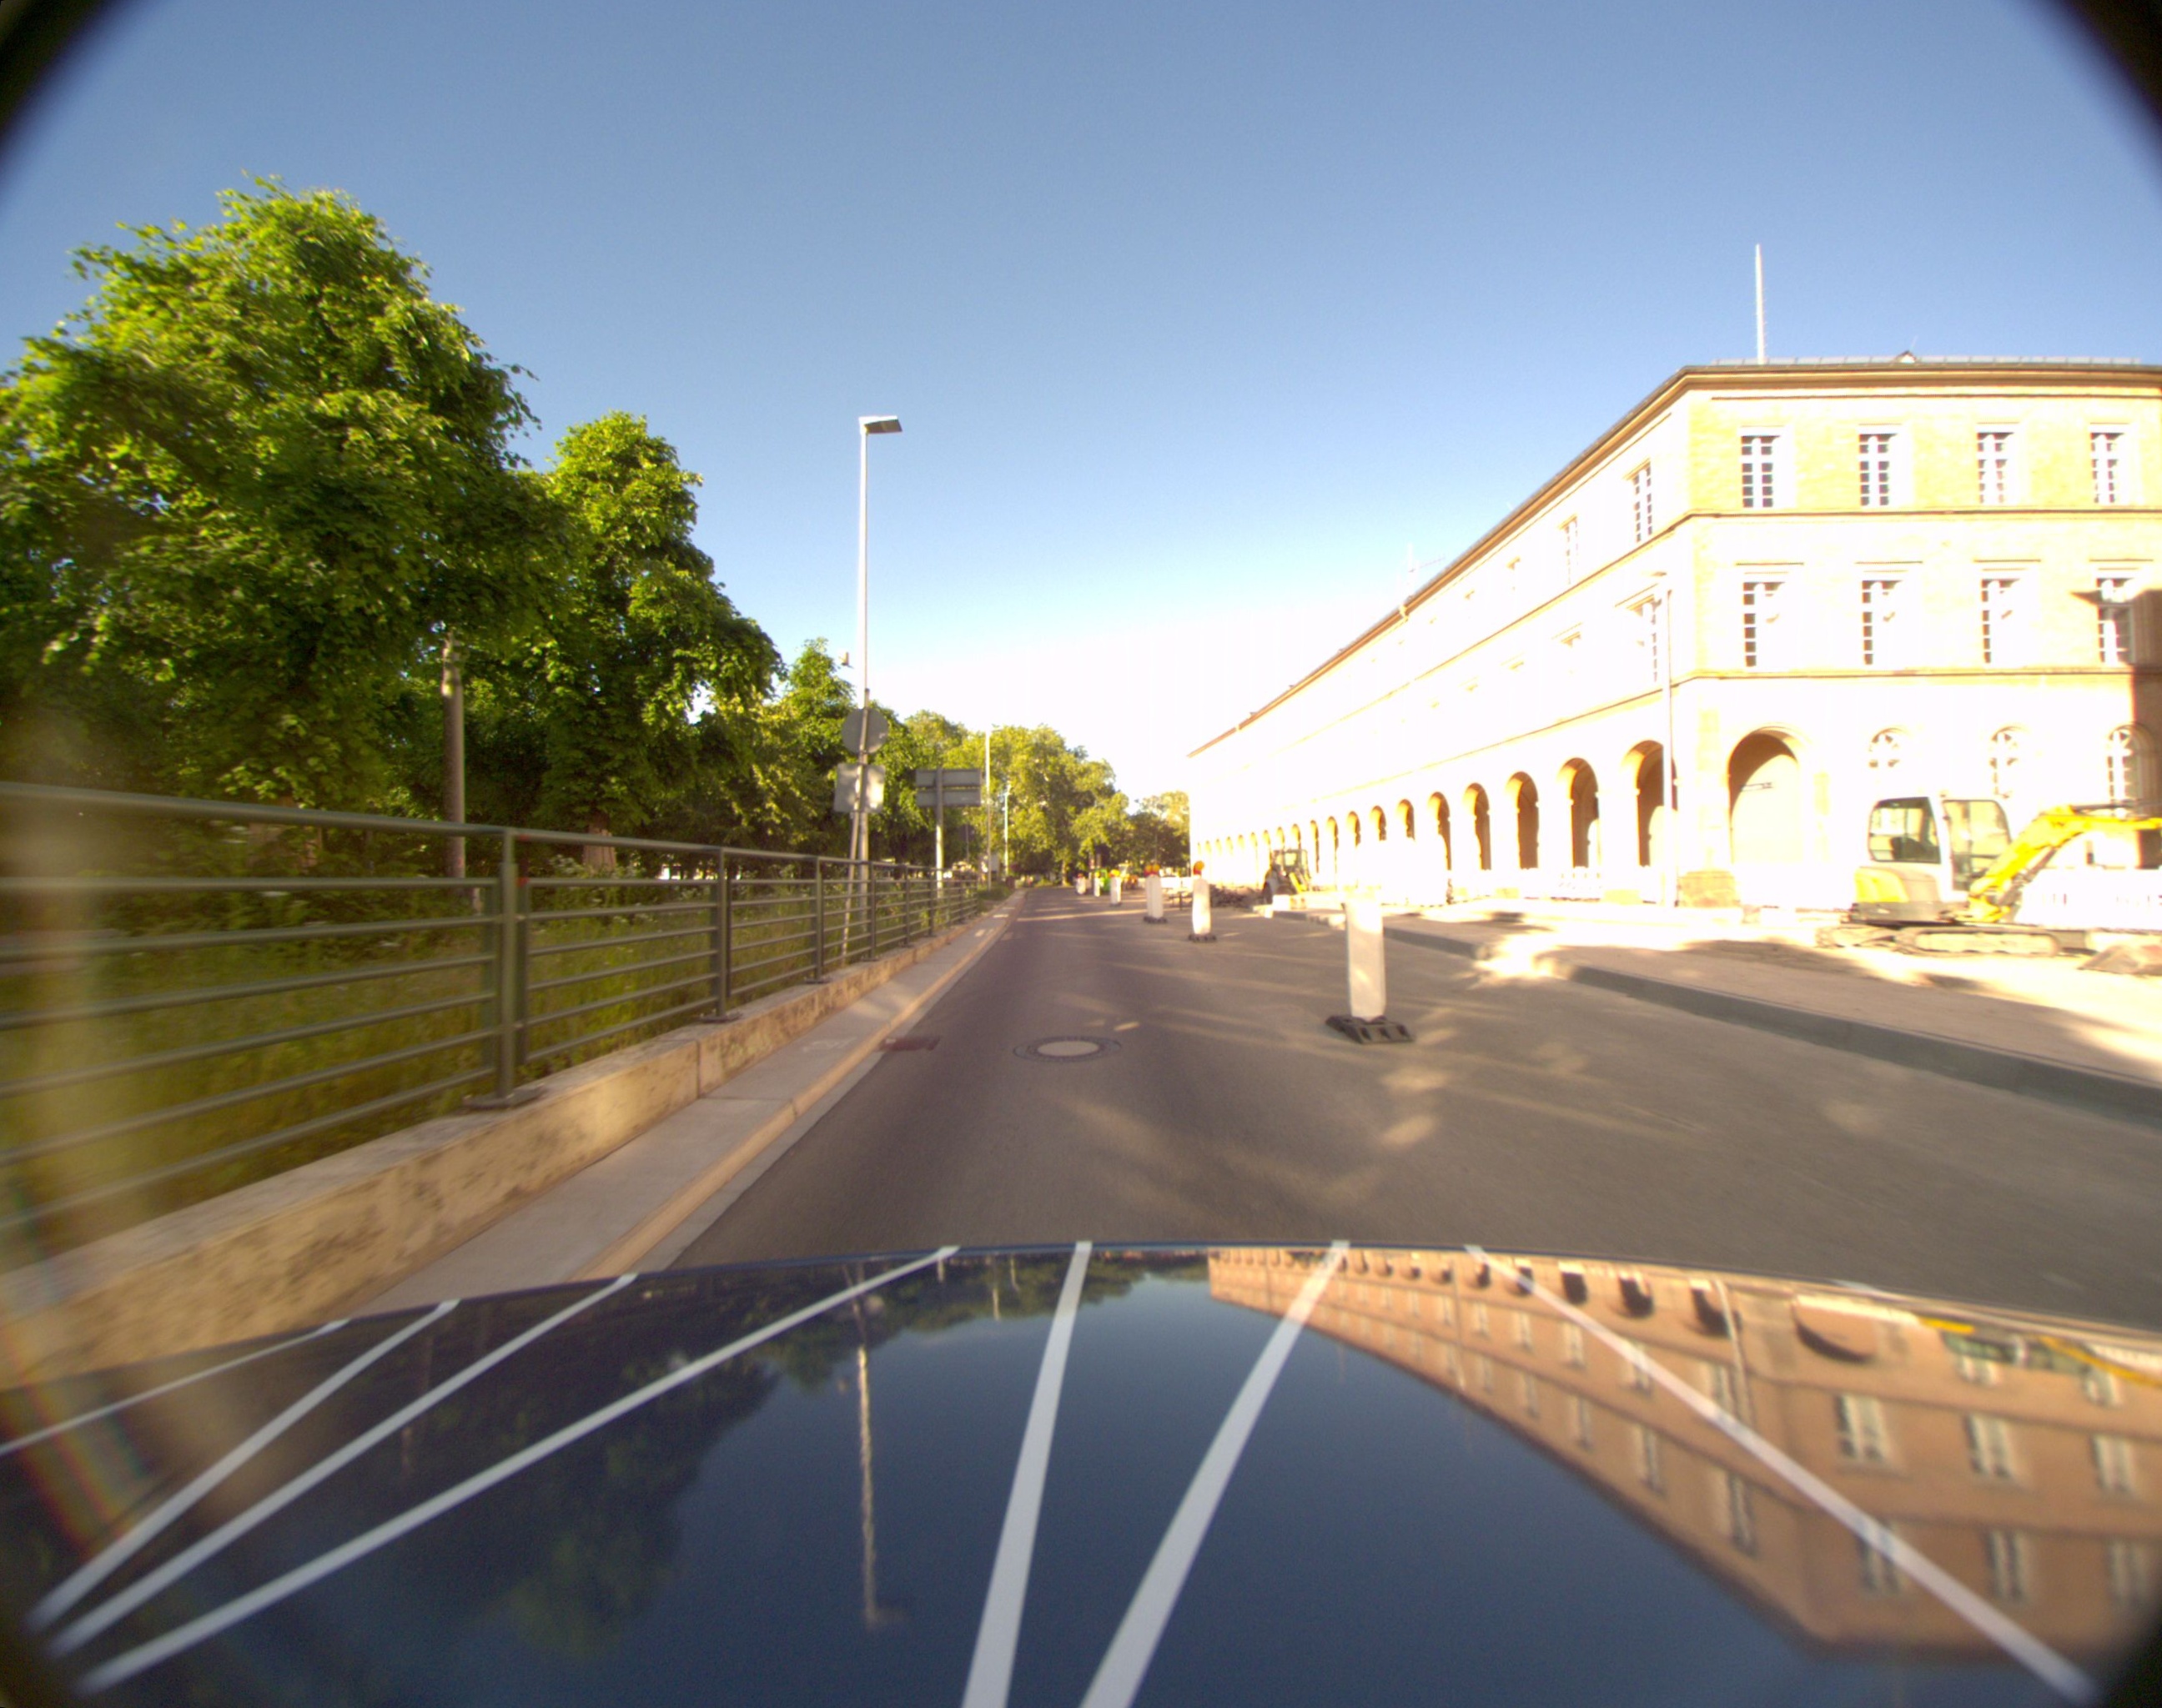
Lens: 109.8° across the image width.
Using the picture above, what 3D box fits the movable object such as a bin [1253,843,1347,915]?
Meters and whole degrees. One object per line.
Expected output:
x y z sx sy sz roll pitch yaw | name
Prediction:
7.962 0.903 28.102 1.796 2.438 4.535 0 -1 -5 | movable object such as a bin

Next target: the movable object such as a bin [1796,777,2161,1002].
12.549 0.409 10.094 2.104 2.381 4.309 1 0 2 | movable object such as a bin

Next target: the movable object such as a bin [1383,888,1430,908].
12.190 1.636 28.488 1.191 0.694 1.240 0 -1 -4 | movable object such as a bin

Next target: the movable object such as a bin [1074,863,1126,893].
1.345 1.701 54.430 3.245 2.064 2.108 0 -1 -15 | movable object such as a bin
